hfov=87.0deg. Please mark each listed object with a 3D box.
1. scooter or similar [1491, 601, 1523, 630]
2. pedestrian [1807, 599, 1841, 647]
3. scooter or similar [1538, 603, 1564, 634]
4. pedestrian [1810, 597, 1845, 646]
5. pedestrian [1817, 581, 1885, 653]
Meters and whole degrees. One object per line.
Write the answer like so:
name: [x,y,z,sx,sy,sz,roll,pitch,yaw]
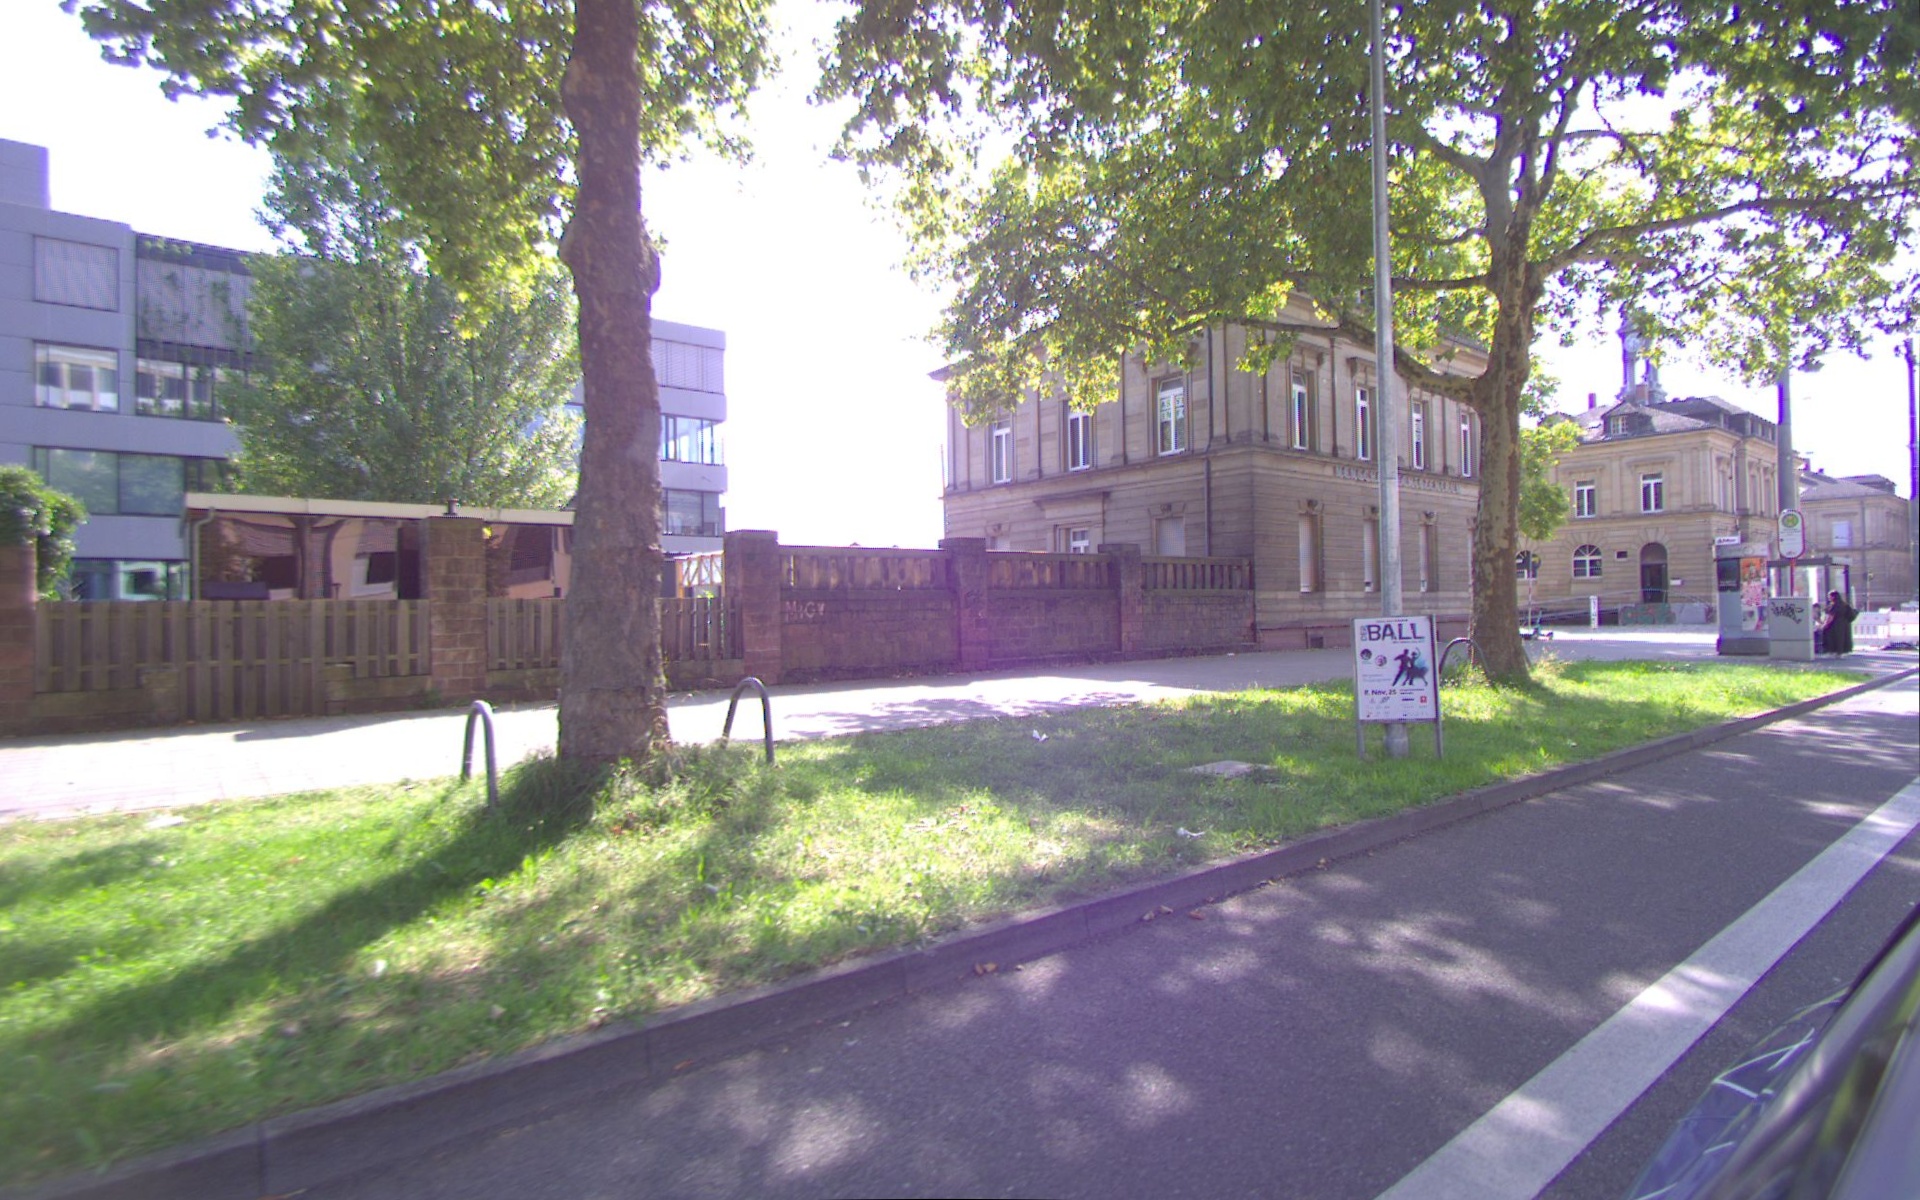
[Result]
scooter or similar: [21.997,0.604,40.693,0.307,1.147,1.093,0,-1,-42]
pedestrian: [22.626,0.595,26.515,0.564,1.233,0.609,0,0,-42]
scooter or similar: [23.214,0.722,39.766,1.202,1.181,0.410,0,-1,-35]
pedestrian: [23.196,0.558,27.065,0.746,1.293,0.609,0,0,-42]
pedestrian: [20.842,0.401,23.681,0.871,1.646,0.819,-1,-1,15]
